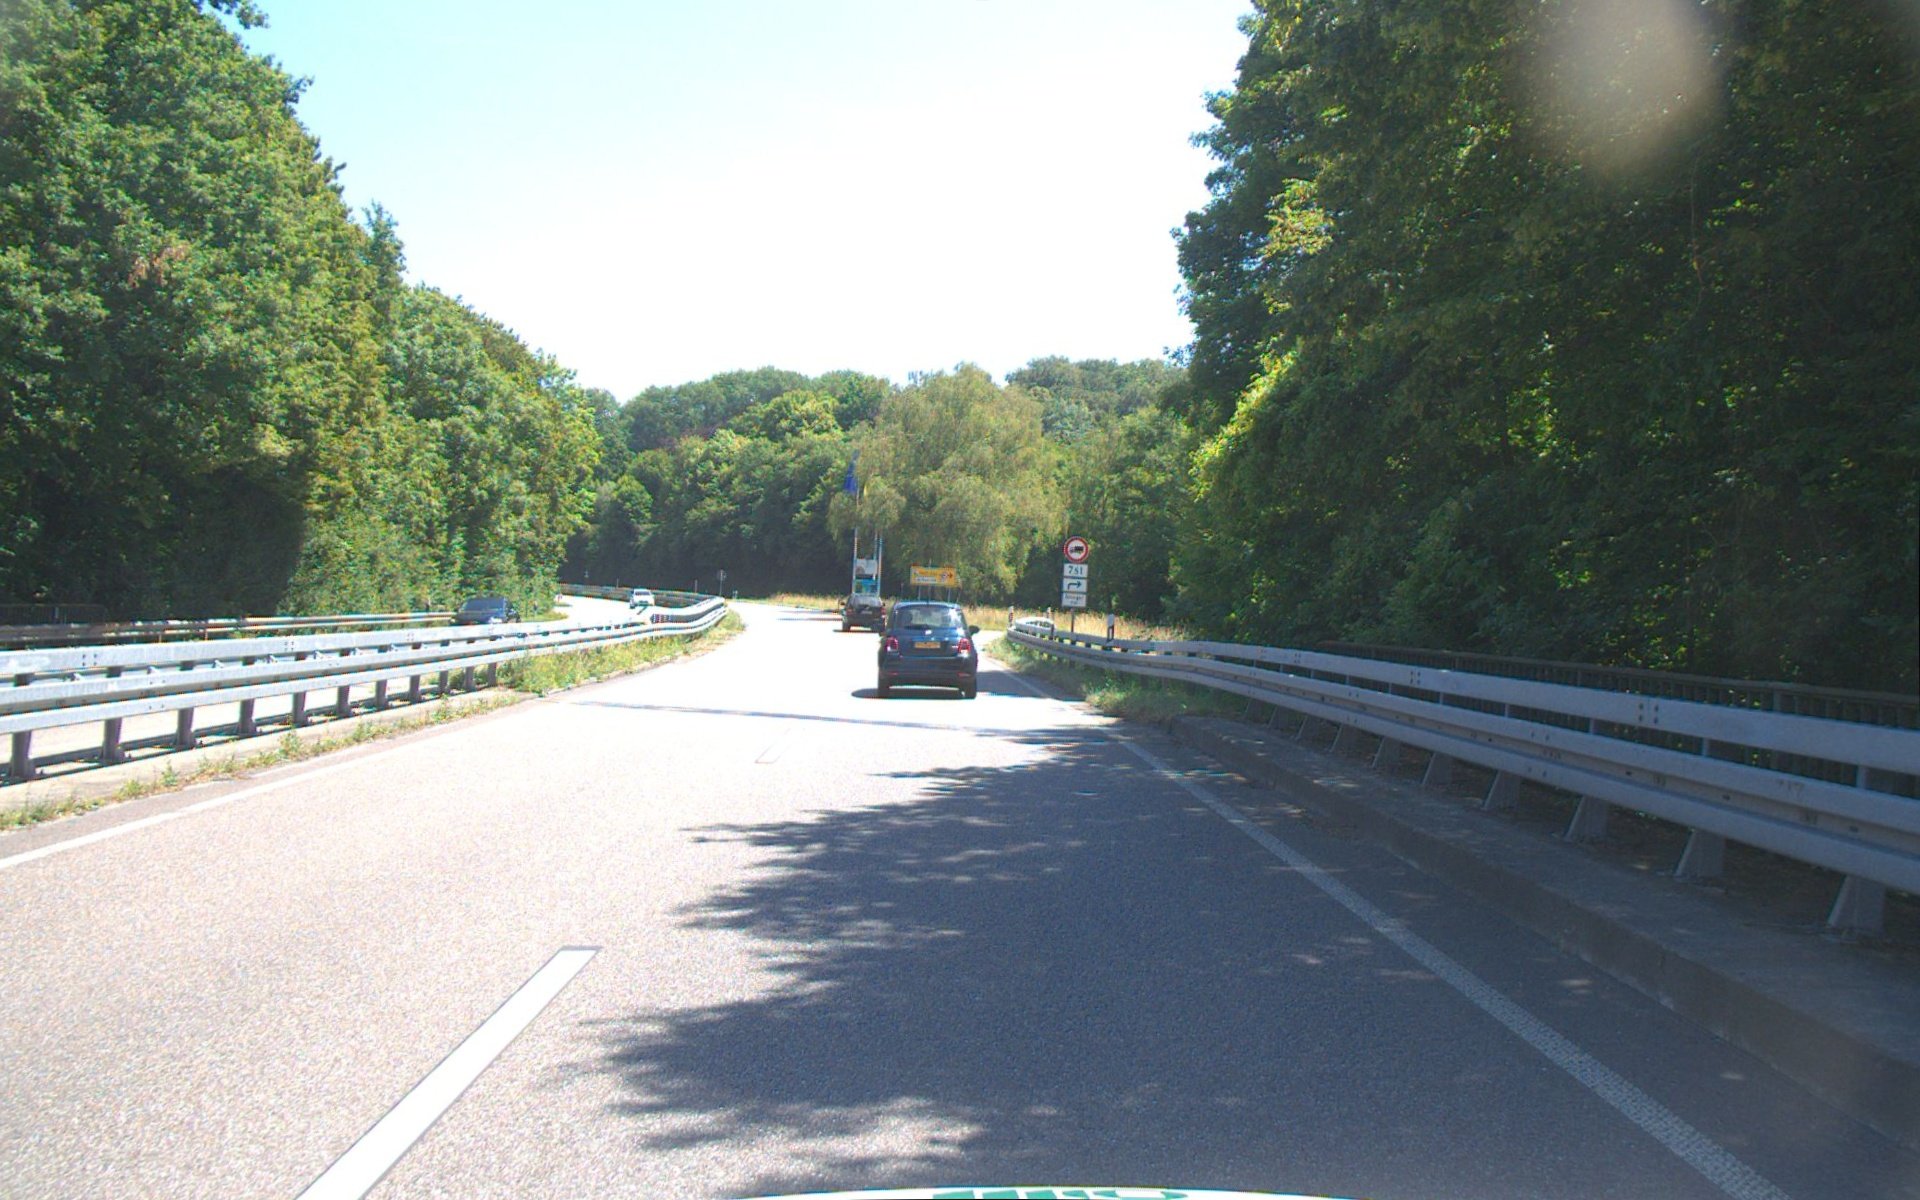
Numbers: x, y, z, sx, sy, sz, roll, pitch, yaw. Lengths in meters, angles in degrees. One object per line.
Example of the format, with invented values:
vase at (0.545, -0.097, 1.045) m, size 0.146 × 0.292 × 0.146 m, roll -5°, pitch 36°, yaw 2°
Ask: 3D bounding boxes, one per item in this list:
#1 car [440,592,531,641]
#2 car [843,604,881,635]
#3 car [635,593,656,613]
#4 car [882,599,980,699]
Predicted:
car at (-15.624, 0.513, 54.688) m, size 1.720 × 1.555 × 4.683 m, roll 0°, pitch 0°, yaw -1°
car at (-4.299, 0.837, 72.099) m, size 1.496 × 1.336 × 3.410 m, roll 0°, pitch 0°, yaw -6°
car at (-26.646, 0.239, 140.172) m, size 1.724 × 1.600 × 4.403 m, roll 0°, pitch 0°, yaw -10°
car at (-0.426, 0.744, 27.135) m, size 1.482 × 1.527 × 3.590 m, roll 0°, pitch 0°, yaw 1°
